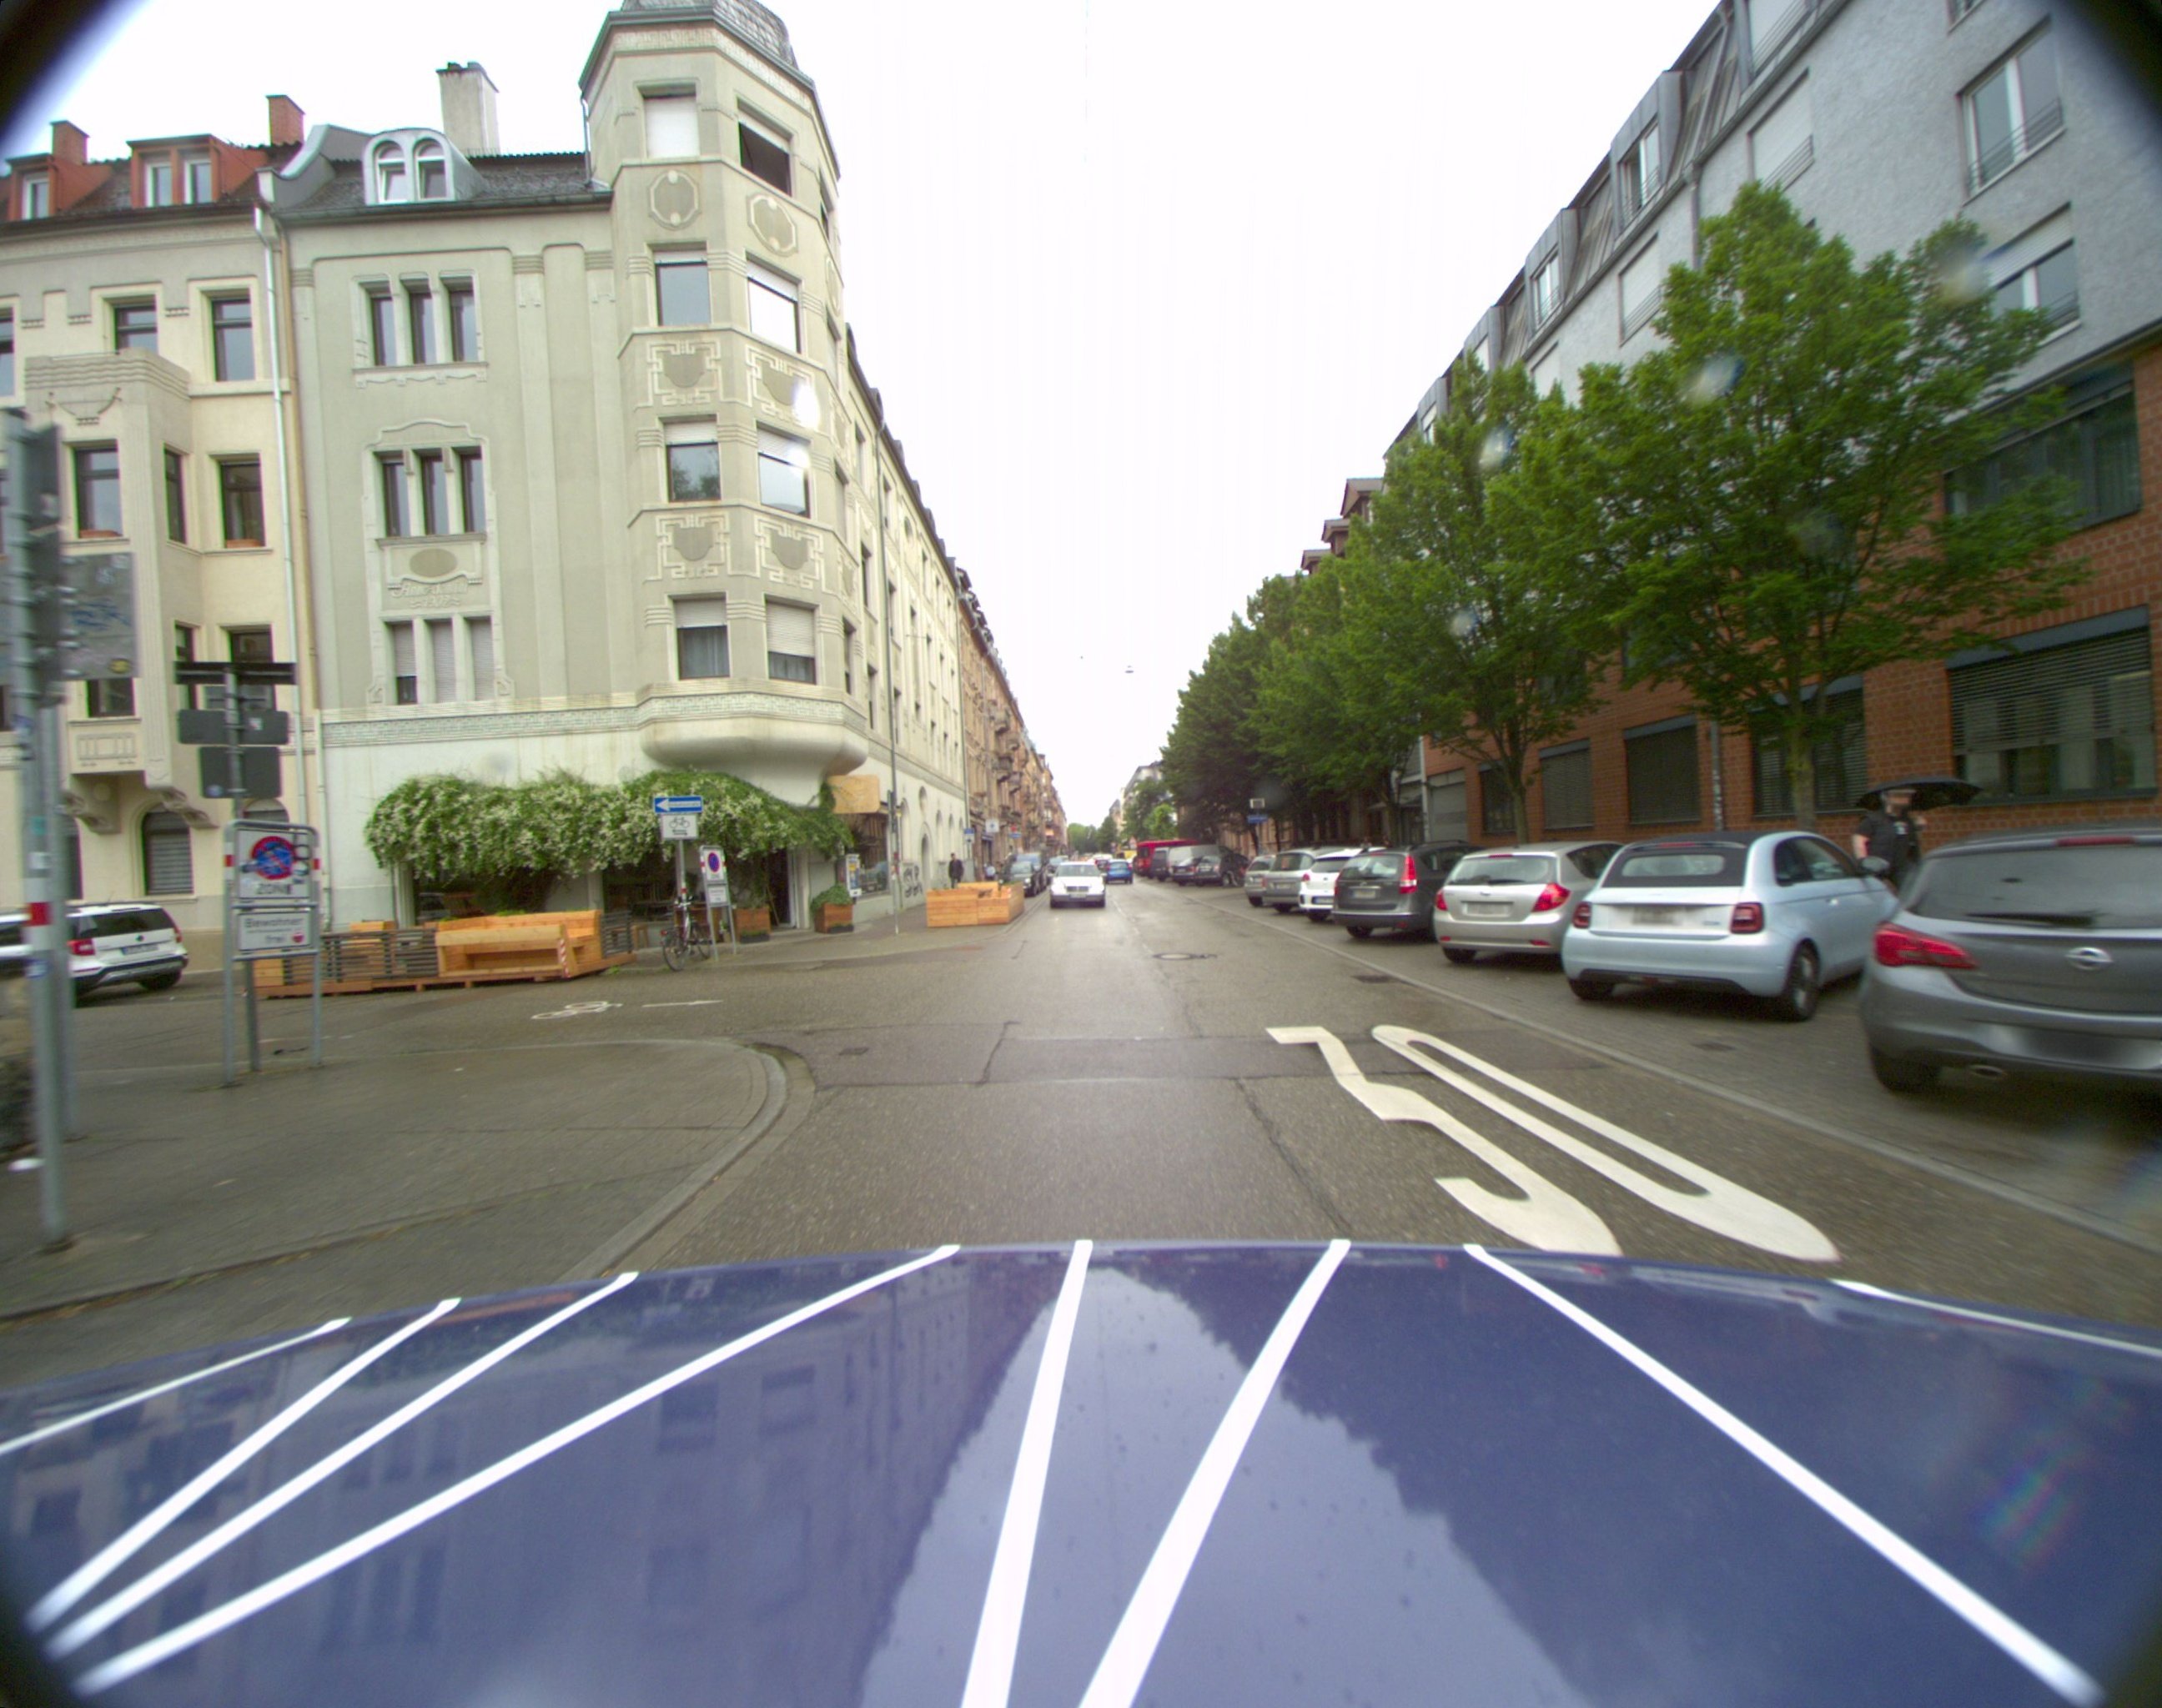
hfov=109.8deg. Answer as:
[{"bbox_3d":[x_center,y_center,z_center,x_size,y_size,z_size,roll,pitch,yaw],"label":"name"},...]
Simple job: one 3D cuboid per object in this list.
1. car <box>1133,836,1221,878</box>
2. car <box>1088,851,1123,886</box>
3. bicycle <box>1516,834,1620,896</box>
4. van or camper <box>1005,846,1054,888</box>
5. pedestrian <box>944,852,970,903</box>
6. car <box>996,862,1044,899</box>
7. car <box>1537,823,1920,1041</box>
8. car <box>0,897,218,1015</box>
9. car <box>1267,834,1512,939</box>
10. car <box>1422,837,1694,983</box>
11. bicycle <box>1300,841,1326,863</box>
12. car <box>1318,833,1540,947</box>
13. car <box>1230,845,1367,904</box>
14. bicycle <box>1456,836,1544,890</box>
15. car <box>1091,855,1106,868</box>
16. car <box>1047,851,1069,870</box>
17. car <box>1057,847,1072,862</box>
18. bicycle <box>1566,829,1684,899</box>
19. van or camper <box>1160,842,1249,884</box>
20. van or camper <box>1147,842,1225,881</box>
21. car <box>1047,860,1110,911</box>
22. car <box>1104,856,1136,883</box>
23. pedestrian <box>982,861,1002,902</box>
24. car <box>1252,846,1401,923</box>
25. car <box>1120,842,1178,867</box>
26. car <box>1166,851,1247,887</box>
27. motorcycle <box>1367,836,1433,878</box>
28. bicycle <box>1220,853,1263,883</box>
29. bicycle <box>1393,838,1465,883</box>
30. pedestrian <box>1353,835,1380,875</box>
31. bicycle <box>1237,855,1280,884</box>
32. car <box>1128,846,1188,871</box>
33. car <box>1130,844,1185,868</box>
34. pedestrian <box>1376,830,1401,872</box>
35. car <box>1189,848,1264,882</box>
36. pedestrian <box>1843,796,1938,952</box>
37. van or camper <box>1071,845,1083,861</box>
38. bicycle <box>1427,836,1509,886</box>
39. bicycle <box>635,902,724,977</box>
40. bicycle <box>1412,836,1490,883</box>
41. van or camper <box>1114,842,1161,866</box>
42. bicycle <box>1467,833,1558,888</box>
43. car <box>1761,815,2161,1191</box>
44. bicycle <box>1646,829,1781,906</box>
[{"bbox_3d":[6.622,0.229,52.169,5.580,2.526,2.225,-4,0,-27],"label":"car"},{"bbox_3d":[2.062,1.239,63.326,1.671,1.545,4.022,-4,-22,20],"label":"car"},{"bbox_3d":[10.901,0.246,17.028,1.901,1.145,0.553,-7,1,-2],"label":"bicycle"},{"bbox_3d":[-2.466,0.613,37.521,2.026,1.880,5.054,-2,0,0],"label":"van or camper"},{"bbox_3d":[-4.912,0.917,30.100,0.827,1.940,0.415,-3,3,1],"label":"pedestrian"},{"bbox_3d":[-2.532,1.063,32.250,1.714,1.392,3.704,-2,0,0],"label":"car"},{"bbox_3d":[6.173,0.568,7.203,3.391,1.499,1.677,-4,1,-30],"label":"car"},{"bbox_3d":[-18.421,1.810,13.493,3.851,1.690,1.813,-3,4,-1],"label":"car"},{"bbox_3d":[6.532,0.583,16.059,4.530,1.531,2.332,-7,3,-28],"label":"car"},{"bbox_3d":[6.254,0.608,9.891,3.391,1.449,1.677,-4,1,-33],"label":"car"},{"bbox_3d":[13.401,-0.112,43.910,0.669,1.186,2.413,-7,0,1],"label":"bicycle"},{"bbox_3d":[5.863,0.529,12.753,3.391,1.533,1.677,-4,1,-31],"label":"car"},{"bbox_3d":[6.167,0.528,21.423,3.720,1.443,1.681,-2,0,-35],"label":"car"},{"bbox_3d":[10.964,0.231,19.902,1.901,1.145,0.553,-7,1,-2],"label":"bicycle"},{"bbox_3d":[2.419,1.033,106.569,1.863,1.650,5.008,-2,0,0],"label":"car"},{"bbox_3d":[-2.283,0.631,76.365,1.999,1.769,4.825,-2,0,-1],"label":"car"},{"bbox_3d":[-2.303,0.073,106.447,1.999,1.927,5.228,-2,1,-2],"label":"car"},{"bbox_3d":[10.956,0.200,15.324,1.901,1.145,0.553,-7,1,-2],"label":"bicycle"},{"bbox_3d":[6.955,0.479,42.494,4.705,1.941,2.331,-5,0,-41],"label":"van or camper"},{"bbox_3d":[6.334,0.454,45.736,4.454,1.964,1.777,-5,1,-33],"label":"van or camper"},{"bbox_3d":[-0.127,0.992,25.739,1.859,1.390,4.979,-3,0,-1],"label":"car"},{"bbox_3d":[2.346,0.912,46.668,1.674,1.457,4.003,-2,0,-1],"label":"car"},{"bbox_3d":[-4.476,1.363,38.266,0.827,2.003,0.415,-3,3,1],"label":"pedestrian"},{"bbox_3d":[6.013,0.683,18.546,3.392,1.645,1.630,-2,1,-32],"label":"car"},{"bbox_3d":[6.707,0.055,74.834,5.258,2.066,1.866,-4,1,-24],"label":"car"},{"bbox_3d":[6.352,0.757,38.229,3.985,1.438,1.763,-5,1,-40],"label":"car"},{"bbox_3d":[11.046,0.093,26.320,1.886,1.218,0.657,-7,0,4],"label":"motorcycle"},{"bbox_3d":[6.757,0.608,32.151,0.751,1.151,2.218,-4,-1,-16],"label":"bicycle"},{"bbox_3d":[10.820,0.197,23.656,1.901,1.145,0.553,-7,1,-2],"label":"bicycle"},{"bbox_3d":[11.347,0.048,30.203,0.690,1.488,0.587,-6,1,-5],"label":"pedestrian"},{"bbox_3d":[7.523,0.661,32.368,0.784,1.151,2.144,-4,-1,-16],"label":"bicycle"},{"bbox_3d":[6.370,0.345,62.874,4.450,1.621,1.841,-6,1,-26],"label":"car"},{"bbox_3d":[6.872,0.190,69.096,4.590,1.775,2.545,-5,0,0],"label":"car"},{"bbox_3d":[12.213,-0.102,30.181,0.568,1.593,0.589,-6,1,-5],"label":"pedestrian"},{"bbox_3d":[6.843,0.497,35.530,3.487,1.427,1.647,-2,0,-42],"label":"car"},{"bbox_3d":[9.138,0.216,8.589,0.613,1.698,0.433,-3,3,1],"label":"pedestrian"},{"bbox_3d":[-0.914,-0.267,168.993,2.411,3.308,7.072,-4,0,-1],"label":"van or camper"},{"bbox_3d":[10.824,0.188,21.266,1.901,1.145,0.553,-7,1,-2],"label":"bicycle"},{"bbox_3d":[-6.987,1.454,13.334,0.453,0.974,1.919,-3,3,0],"label":"bicycle"},{"bbox_3d":[10.842,0.149,22.296,1.901,1.145,0.553,-7,1,-2],"label":"bicycle"},{"bbox_3d":[6.384,-0.024,85.865,4.733,2.254,2.180,-5,0,-32],"label":"van or camper"},{"bbox_3d":[10.928,0.162,19.276,1.901,1.145,0.553,-7,1,-2],"label":"bicycle"},{"bbox_3d":[6.051,0.582,4.419,3.836,1.499,1.984,-4,1,-30],"label":"car"},{"bbox_3d":[11.400,0.236,13.722,1.901,1.145,0.553,-7,1,-2],"label":"bicycle"}]
